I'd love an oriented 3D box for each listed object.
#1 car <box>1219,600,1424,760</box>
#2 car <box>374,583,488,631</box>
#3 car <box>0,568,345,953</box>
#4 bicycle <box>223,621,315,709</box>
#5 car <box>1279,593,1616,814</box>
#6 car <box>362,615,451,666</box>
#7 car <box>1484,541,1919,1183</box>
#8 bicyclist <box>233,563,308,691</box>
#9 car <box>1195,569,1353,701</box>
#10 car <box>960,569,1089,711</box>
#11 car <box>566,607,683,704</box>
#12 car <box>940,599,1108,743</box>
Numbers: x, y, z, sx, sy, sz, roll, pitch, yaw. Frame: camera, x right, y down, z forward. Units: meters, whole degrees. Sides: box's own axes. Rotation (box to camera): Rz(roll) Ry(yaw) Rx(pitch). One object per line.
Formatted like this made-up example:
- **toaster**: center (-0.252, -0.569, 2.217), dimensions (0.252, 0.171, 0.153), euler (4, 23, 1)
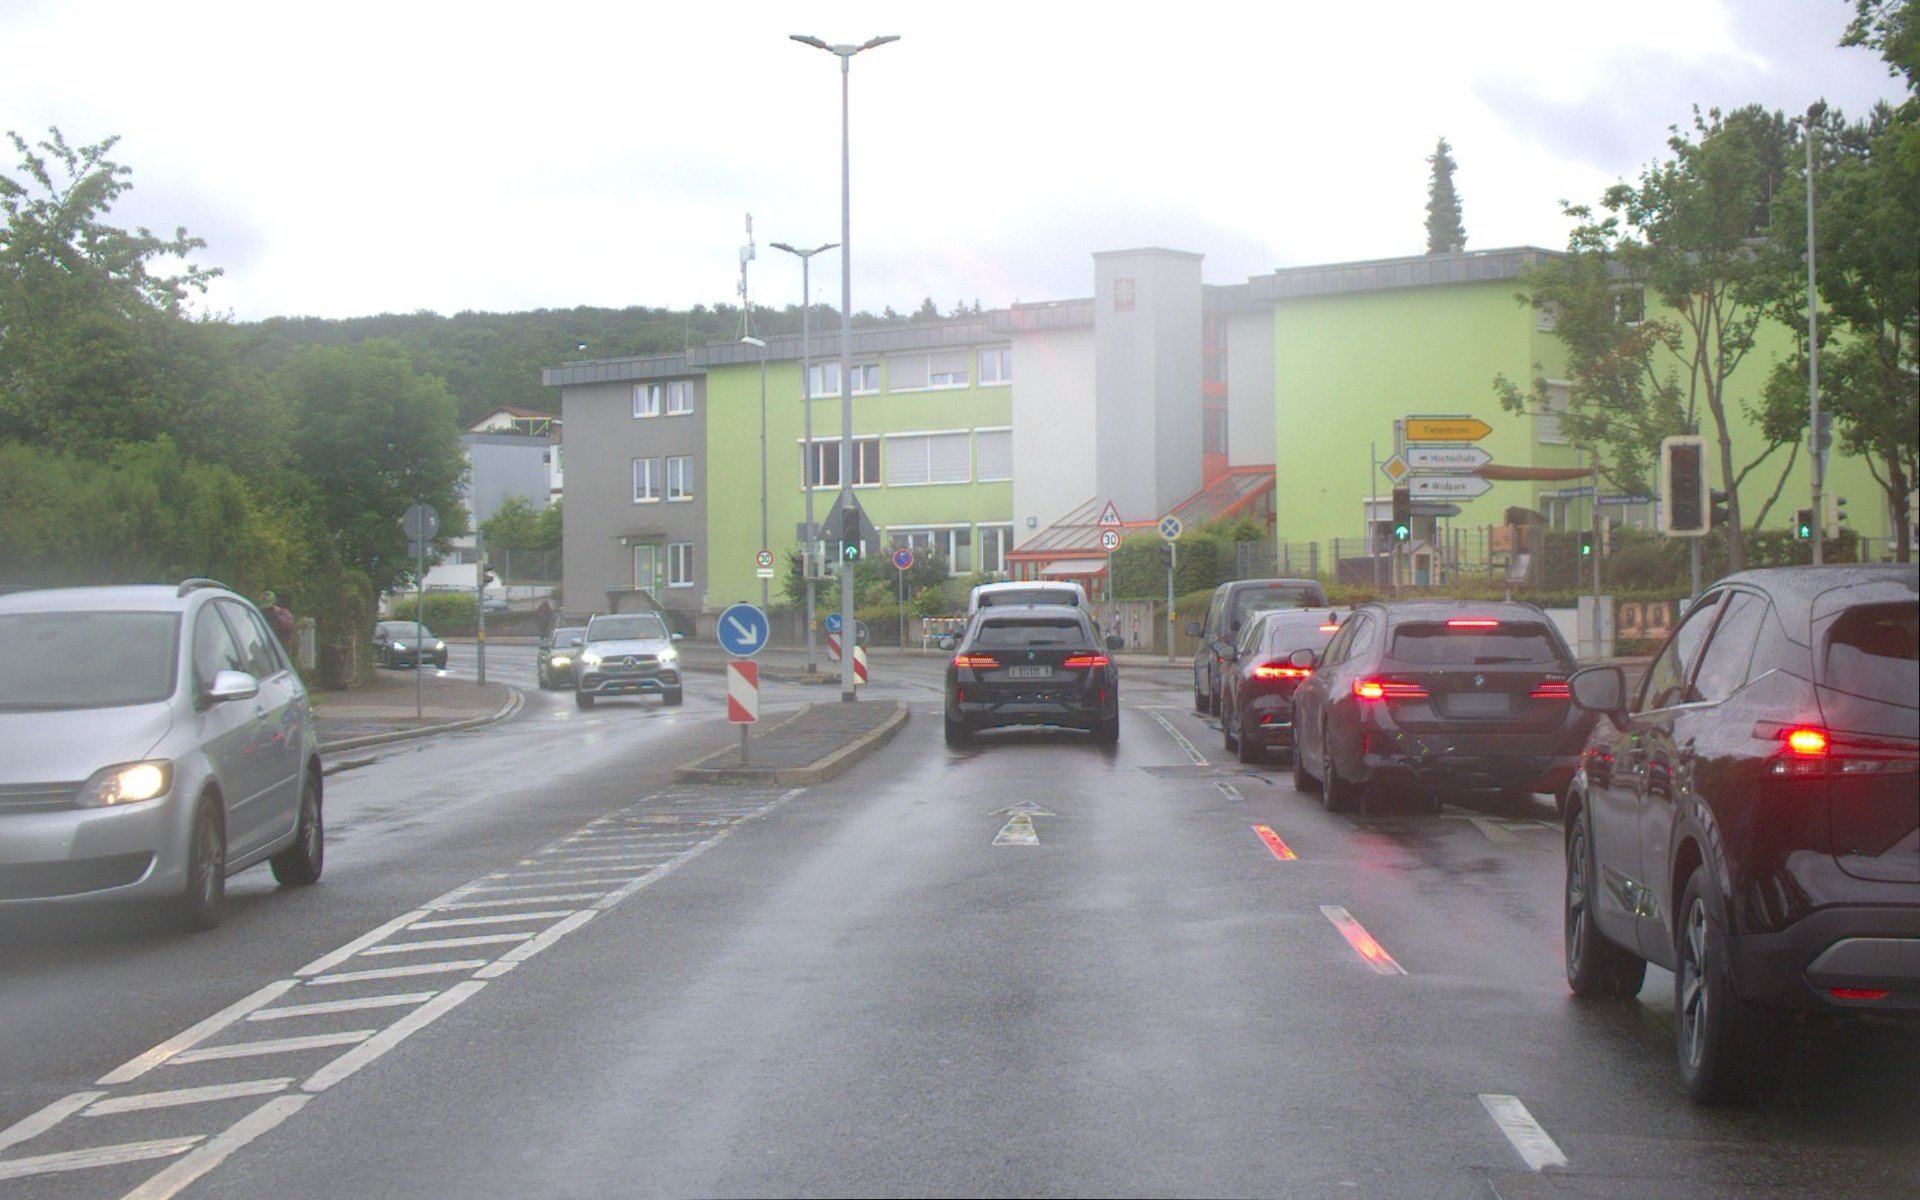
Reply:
- **car**: center (3.478, 0.735, 33.709), dimensions (1.706, 1.422, 4.508), euler (-1, 0, 2)
- **car**: center (-21.896, 0.287, 142.280), dimensions (4.393, 1.766, 2.000), euler (-3, 0, -15)
- **car**: center (-4.144, 0.680, 16.416), dimensions (1.634, 1.574, 4.057), euler (-3, 0, -1)
- **bicycle**: center (-8.766, 0.820, 43.683), dimensions (0.747, 1.083, 1.989), euler (1, -1, 0)
- **car**: center (3.501, 0.693, 25.517), dimensions (1.905, 1.453, 4.778), euler (-1, 0, 1)
- **car**: center (-17.527, 1.286, 108.767), dimensions (1.792, 1.484, 4.155), euler (-3, 0, -22)
- **car**: center (2.847, 0.666, 11.230), dimensions (1.790, 1.598, 4.253), euler (0, 2, 3)
- **bicyclist**: center (-8.772, 0.339, 43.752), dimensions (0.764, 1.606, 0.868), euler (0, 0, 0)
- **car**: center (4.272, 0.443, 47.335), dimensions (1.783, 1.728, 4.087), euler (0, 1, 0)
- **car**: center (0.937, 0.515, 47.985), dimensions (1.717, 1.838, 4.086), euler (0, 1, 2)
- **car**: center (-6.514, 1.041, 66.341), dimensions (2.040, 1.710, 4.482), euler (-2, 0, -8)
- **car**: center (0.673, 0.755, 38.474), dimensions (1.682, 1.501, 3.774), euler (0, 0, -2)
